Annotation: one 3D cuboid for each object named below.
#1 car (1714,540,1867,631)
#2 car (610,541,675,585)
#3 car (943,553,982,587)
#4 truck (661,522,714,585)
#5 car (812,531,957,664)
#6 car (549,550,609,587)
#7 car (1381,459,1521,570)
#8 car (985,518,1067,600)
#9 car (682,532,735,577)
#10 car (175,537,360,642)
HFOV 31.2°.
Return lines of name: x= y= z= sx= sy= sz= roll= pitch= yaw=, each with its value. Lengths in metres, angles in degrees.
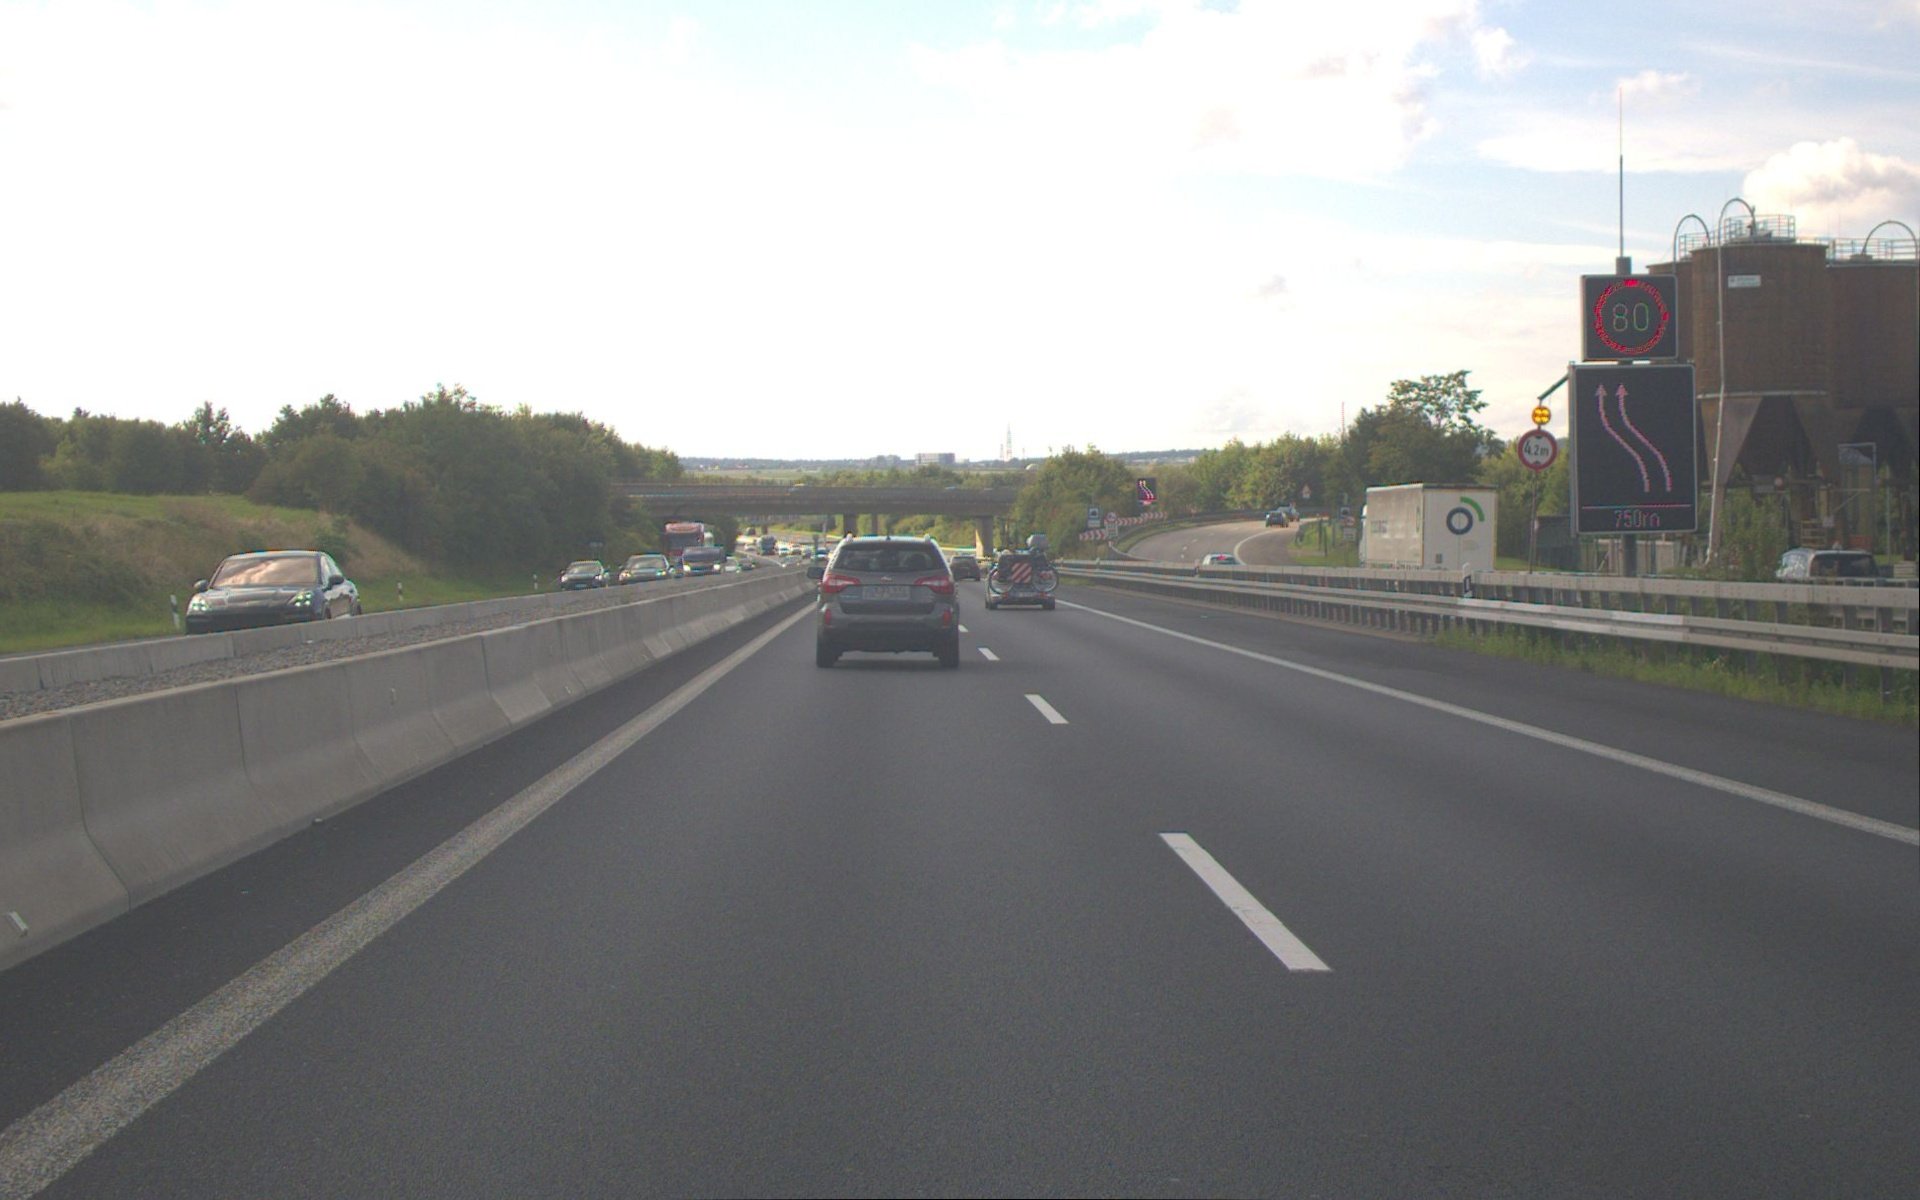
car: x=16.607 y=-0.305 z=68.924 sx=1.993 sy=1.711 sz=4.000 roll=-2 pitch=1 yaw=-1
car: x=-12.205 y=-1.433 z=132.452 sx=1.993 sy=1.567 sz=5.365 roll=-2 pitch=1 yaw=0
car: x=0.120 y=-1.642 z=188.149 sx=1.975 sy=1.773 sz=4.120 roll=-2 pitch=1 yaw=-1
truck: x=-17.560 y=-2.993 z=221.947 sx=2.738 sy=3.911 sz=6.901 roll=-2 pitch=1 yaw=0
car: x=-0.950 y=-0.050 z=45.199 sx=1.750 sy=1.624 sz=3.609 roll=-2 pitch=1 yaw=0
car: x=-16.027 y=-1.336 z=144.862 sx=1.993 sy=1.473 sz=4.692 roll=-2 pitch=1 yaw=0
car: x=17.106 y=-2.954 z=120.278 sx=3.576 sy=3.664 sz=7.549 roll=-2 pitch=1 yaw=-1
car: x=1.736 y=-1.102 z=91.982 sx=1.993 sy=2.073 sz=4.000 roll=-2 pitch=1 yaw=-1
car: x=-11.603 y=-2.094 z=158.823 sx=1.993 sy=2.007 sz=5.841 roll=-2 pitch=1 yaw=0
car: x=-9.963 y=-0.179 z=49.779 sx=1.787 sy=1.393 sz=4.623 roll=-2 pitch=1 yaw=-1
